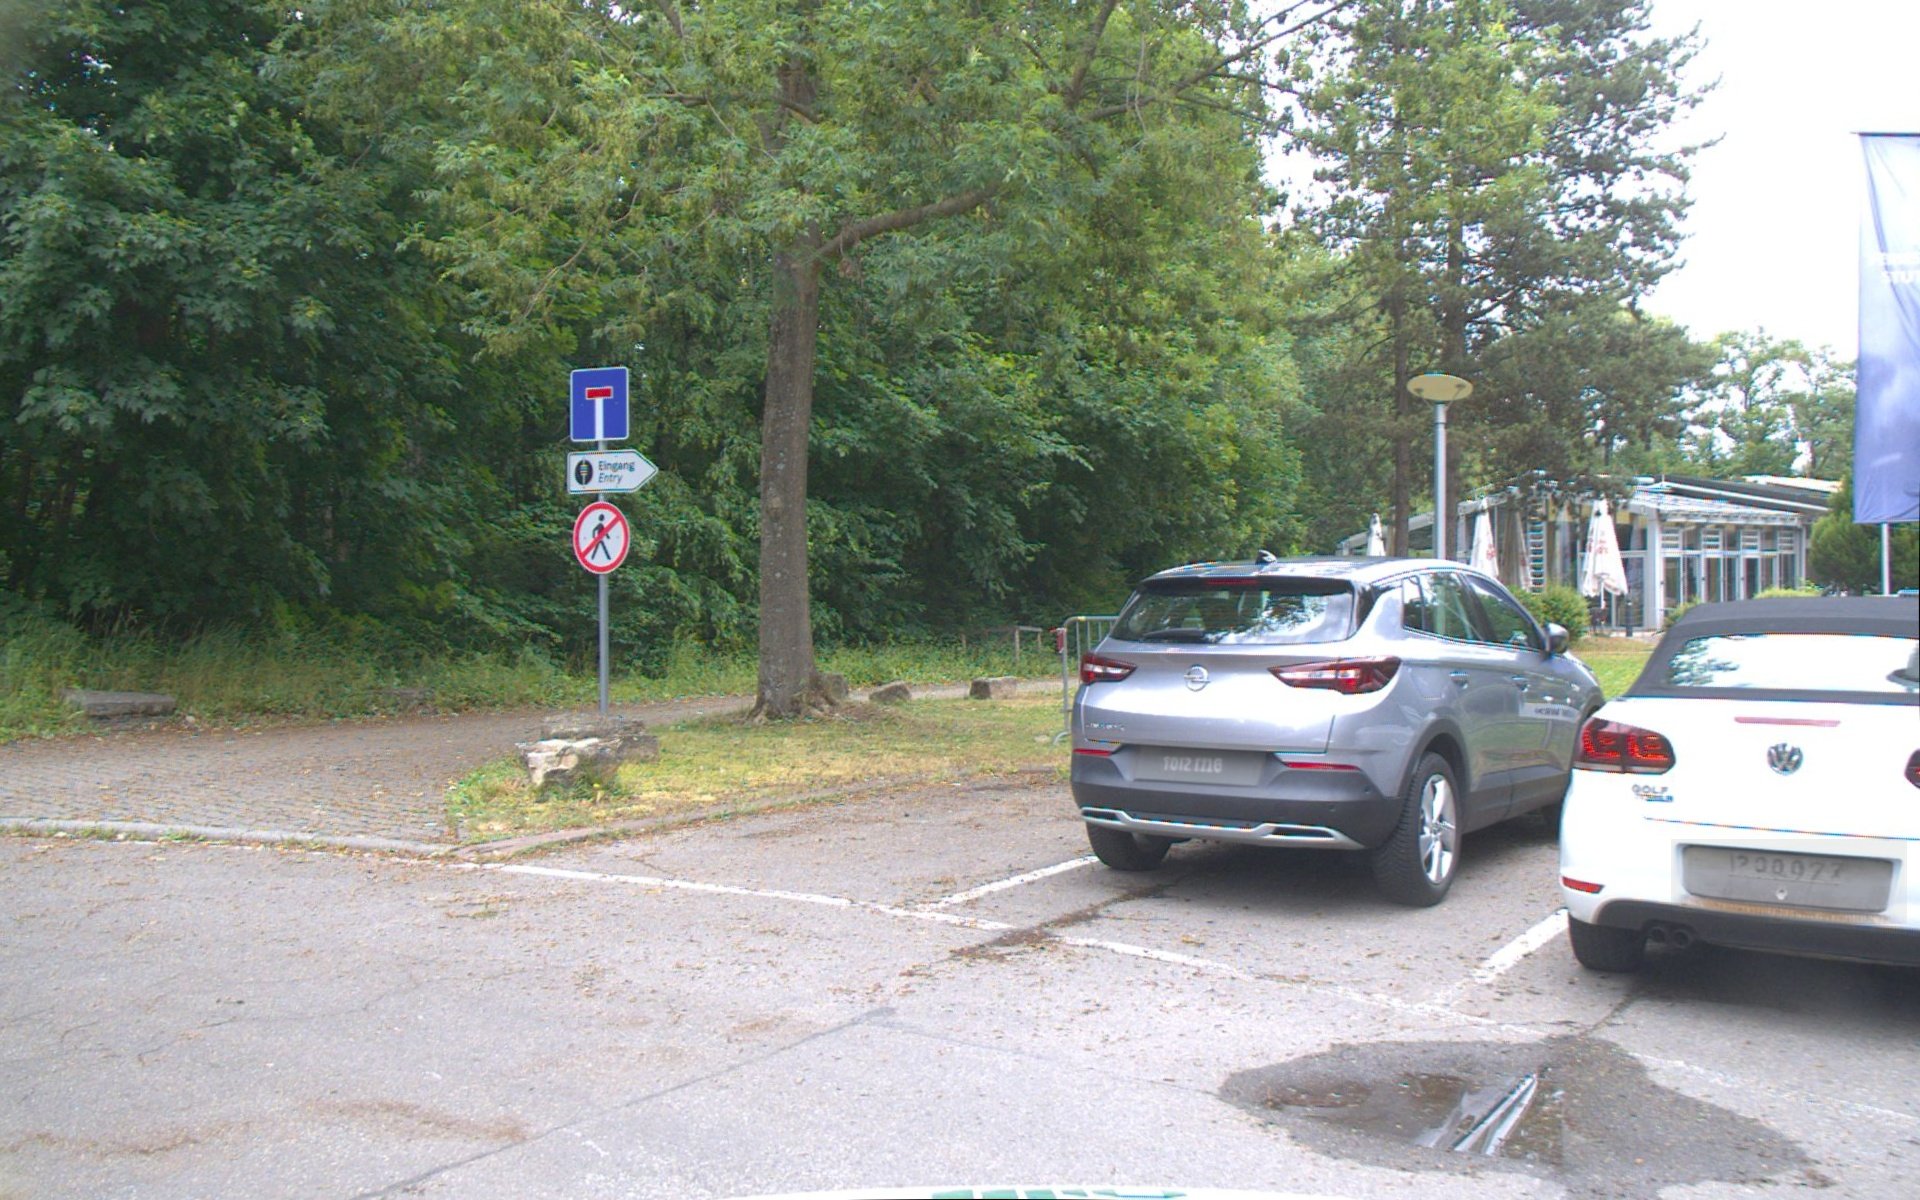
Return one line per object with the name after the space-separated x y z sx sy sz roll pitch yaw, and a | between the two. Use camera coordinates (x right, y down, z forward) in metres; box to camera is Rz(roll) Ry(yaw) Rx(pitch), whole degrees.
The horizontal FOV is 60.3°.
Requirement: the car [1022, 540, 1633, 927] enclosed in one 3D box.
2.211 0.540 9.068 1.861 1.612 3.985 0 0 36 | car

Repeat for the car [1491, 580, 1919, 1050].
3.802 0.649 6.984 1.861 1.453 3.985 0 0 36 | car
